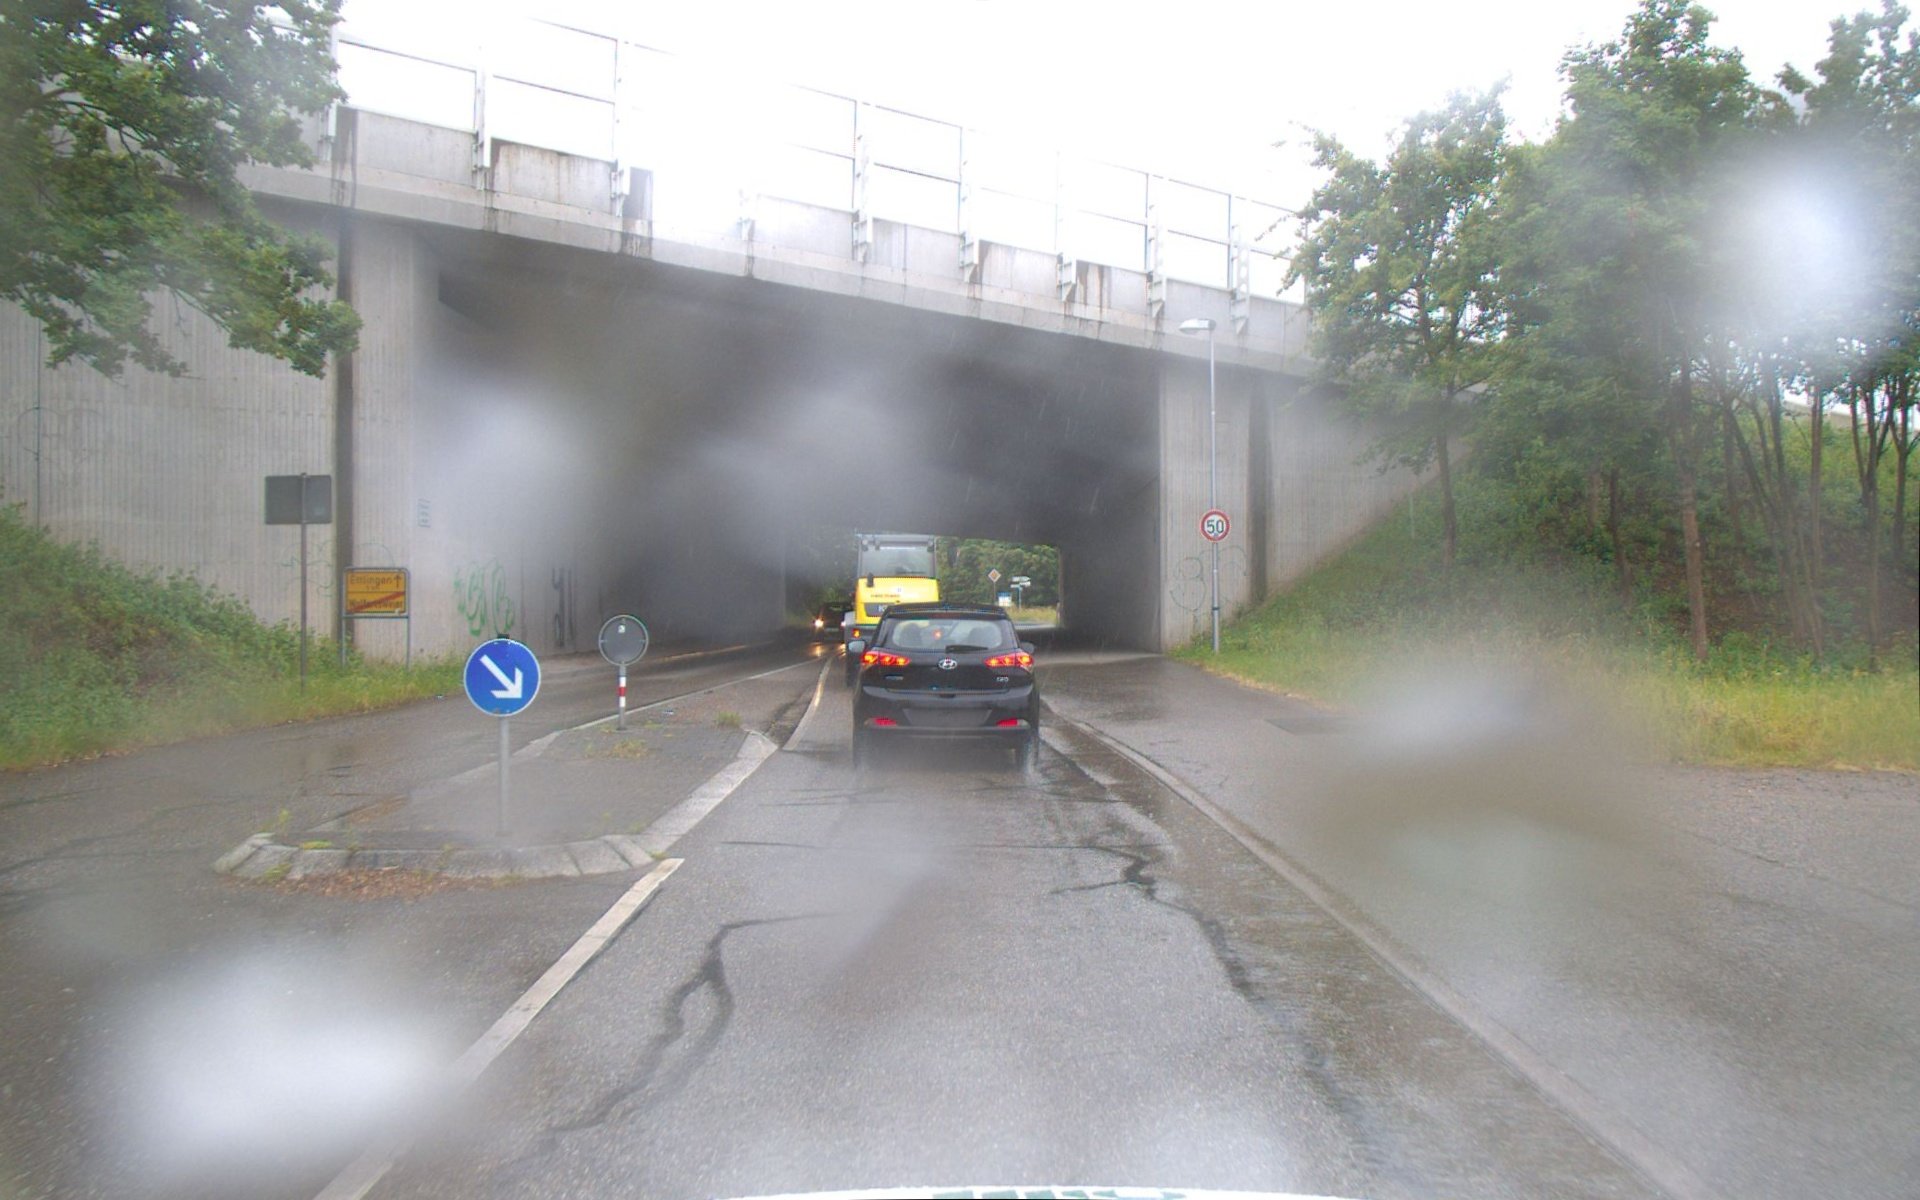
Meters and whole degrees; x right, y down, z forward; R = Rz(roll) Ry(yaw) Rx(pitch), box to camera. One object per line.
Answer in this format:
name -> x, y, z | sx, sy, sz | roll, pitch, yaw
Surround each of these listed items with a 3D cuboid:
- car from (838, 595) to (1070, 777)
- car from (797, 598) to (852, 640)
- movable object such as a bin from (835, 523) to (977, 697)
car -> -0.125, 0.743, 16.139 | 1.953, 1.513, 3.998 | 1, 0, -2
car -> -5.070, 0.697, 62.311 | 1.655, 1.513, 4.073 | 0, 0, 1
movable object such as a bin -> -0.990, 0.173, 29.618 | 2.201, 2.716, 6.623 | 1, 0, -2
